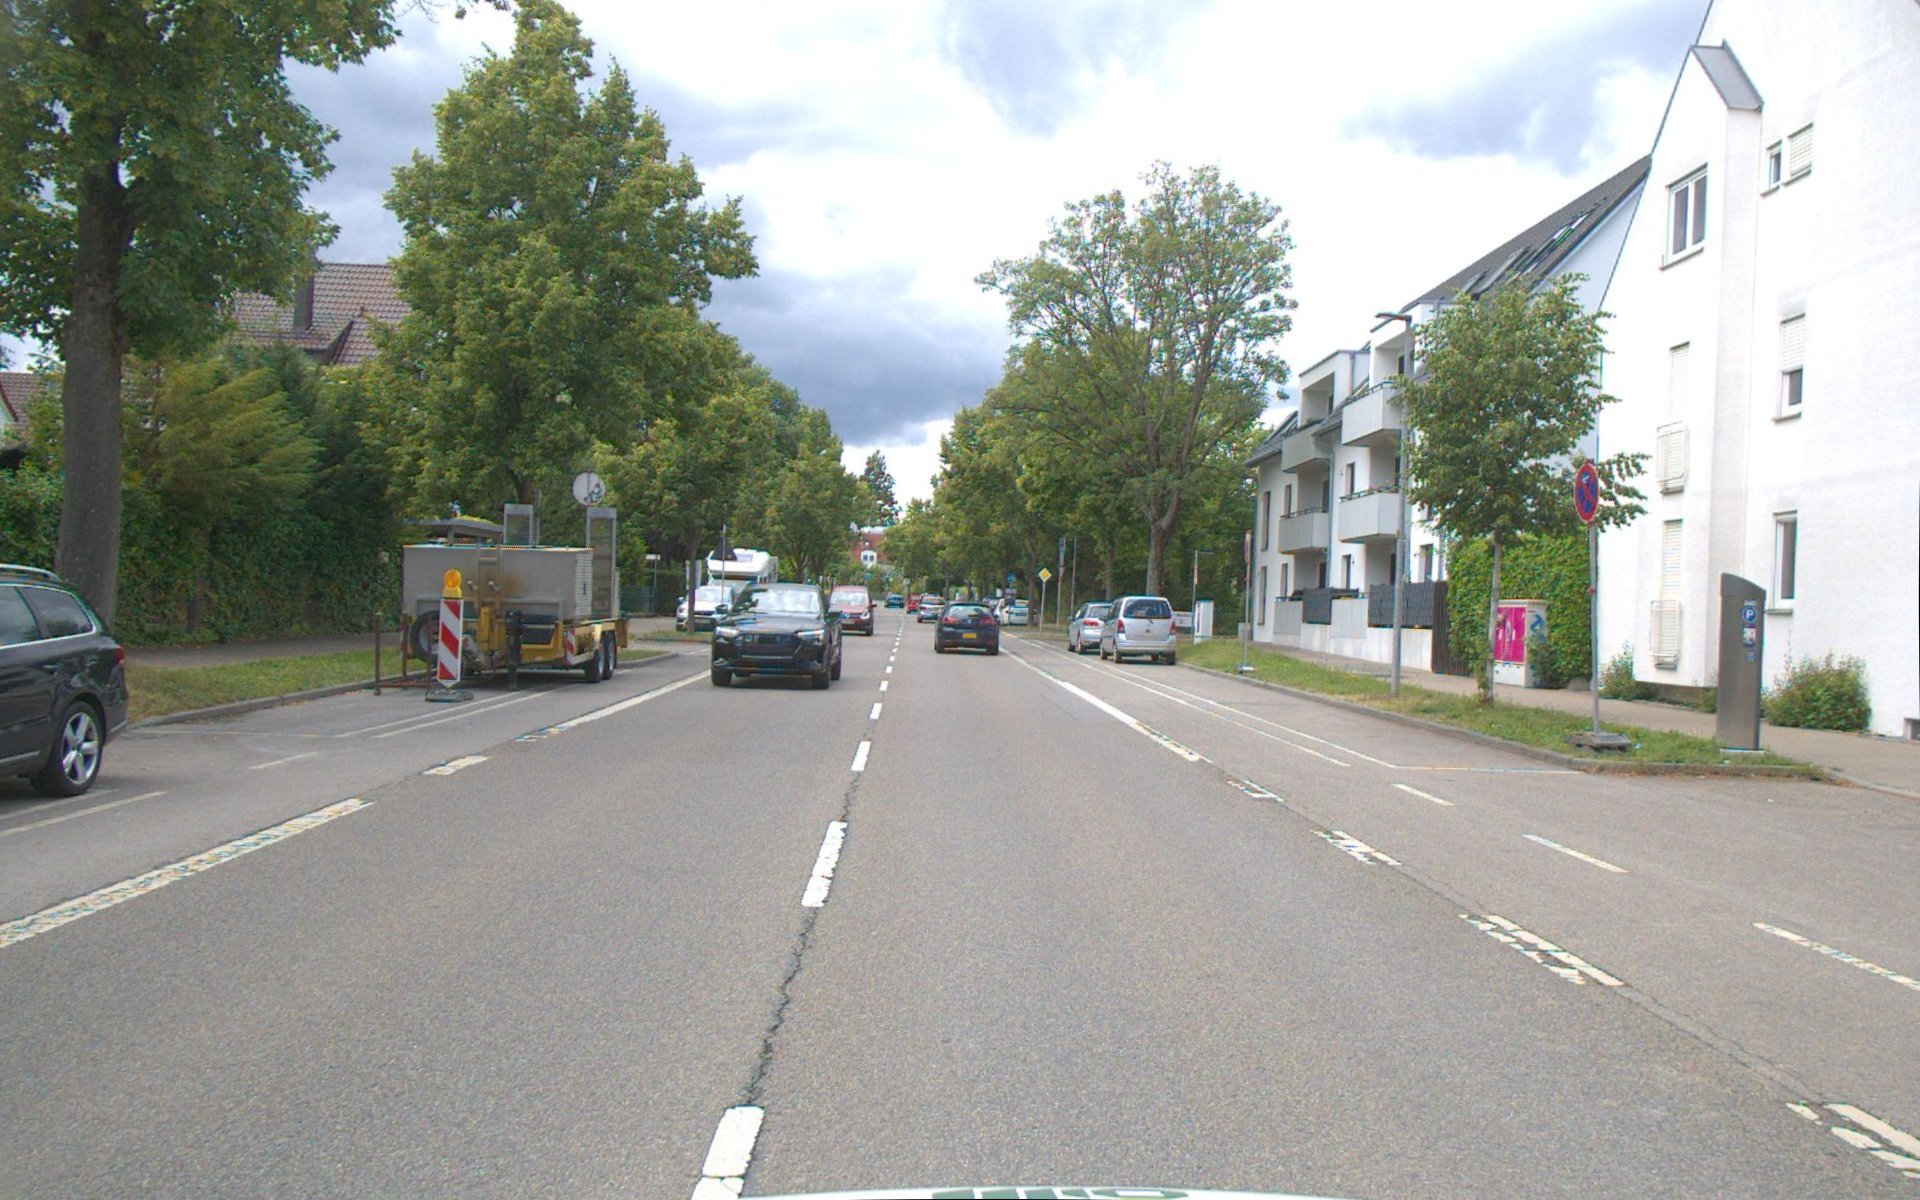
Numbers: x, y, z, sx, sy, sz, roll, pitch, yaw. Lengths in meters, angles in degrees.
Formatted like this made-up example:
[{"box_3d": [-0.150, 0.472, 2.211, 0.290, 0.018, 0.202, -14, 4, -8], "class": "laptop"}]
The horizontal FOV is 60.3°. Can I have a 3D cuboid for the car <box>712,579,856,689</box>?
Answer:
[{"box_3d": [-2.883, 0.526, 28.050, 1.953, 1.697, 4.589, 0, 0, 0], "class": "car"}]

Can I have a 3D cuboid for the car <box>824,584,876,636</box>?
[{"box_3d": [-4.089, 0.350, 61.935, 1.725, 1.834, 4.767, 2, 0, -2], "class": "car"}]

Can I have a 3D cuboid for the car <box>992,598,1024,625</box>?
[{"box_3d": [2.759, 0.644, 94.950, 1.583, 1.485, 3.656, 1, 0, -2], "class": "car"}]

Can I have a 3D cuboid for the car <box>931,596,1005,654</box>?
[{"box_3d": [0.184, 0.670, 46.047, 1.748, 1.474, 3.555, 2, 0, -4], "class": "car"}]

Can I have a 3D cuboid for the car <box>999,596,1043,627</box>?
[{"box_3d": [3.149, 0.581, 86.554, 1.980, 1.468, 5.023, 2, 0, -1], "class": "car"}]

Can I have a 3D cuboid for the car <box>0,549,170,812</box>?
[{"box_3d": [-6.673, 0.447, 9.774, 1.823, 1.580, 4.618, 2, -2, -2], "class": "car"}]

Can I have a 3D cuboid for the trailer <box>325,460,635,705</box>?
[{"box_3d": [-6.816, -0.186, 24.730, 2.620, 2.992, 7.471, 2, -1, -3], "class": "trailer"}]

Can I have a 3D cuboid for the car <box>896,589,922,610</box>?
[{"box_3d": [-4.041, -0.031, 131.179, 1.953, 1.557, 3.999, 2, 0, -1], "class": "car"}]

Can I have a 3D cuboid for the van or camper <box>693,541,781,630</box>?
[{"box_3d": [-8.275, -0.528, 62.251, 2.386, 3.062, 7.690, 2, 0, -2], "class": "van or camper"}]

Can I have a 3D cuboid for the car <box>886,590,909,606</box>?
[{"box_3d": [-6.221, -0.185, 164.797, 1.955, 1.534, 3.994, 3, -1, -7], "class": "car"}]

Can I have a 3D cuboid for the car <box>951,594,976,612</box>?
[{"box_3d": [0.300, 0.271, 141.779, 1.651, 1.457, 4.038, 2, 0, -7], "class": "car"}]

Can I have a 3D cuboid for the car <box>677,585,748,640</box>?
[{"box_3d": [-7.959, 0.387, 53.513, 1.688, 1.628, 4.271, 2, 0, -1], "class": "car"}]

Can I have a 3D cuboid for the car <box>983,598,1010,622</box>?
[{"box_3d": [2.346, 0.641, 106.834, 1.604, 1.445, 4.000, 1, 0, 0], "class": "car"}]

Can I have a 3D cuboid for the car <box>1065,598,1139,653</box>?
[{"box_3d": [4.140, 0.725, 48.789, 1.653, 1.519, 4.225, 1, 0, -2], "class": "car"}]

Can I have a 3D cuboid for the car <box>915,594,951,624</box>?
[{"box_3d": [-1.561, 0.535, 94.937, 1.953, 1.585, 3.998, 2, -1, -2], "class": "car"}]

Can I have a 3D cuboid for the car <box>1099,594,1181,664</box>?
[{"box_3d": [4.648, 0.719, 43.038, 1.599, 1.694, 3.646, 2, 0, -2], "class": "car"}]

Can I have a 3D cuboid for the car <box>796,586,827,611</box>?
[{"box_3d": [-10.343, -0.106, 115.379, 1.836, 1.718, 4.864, 1, 0, -2], "class": "car"}]
